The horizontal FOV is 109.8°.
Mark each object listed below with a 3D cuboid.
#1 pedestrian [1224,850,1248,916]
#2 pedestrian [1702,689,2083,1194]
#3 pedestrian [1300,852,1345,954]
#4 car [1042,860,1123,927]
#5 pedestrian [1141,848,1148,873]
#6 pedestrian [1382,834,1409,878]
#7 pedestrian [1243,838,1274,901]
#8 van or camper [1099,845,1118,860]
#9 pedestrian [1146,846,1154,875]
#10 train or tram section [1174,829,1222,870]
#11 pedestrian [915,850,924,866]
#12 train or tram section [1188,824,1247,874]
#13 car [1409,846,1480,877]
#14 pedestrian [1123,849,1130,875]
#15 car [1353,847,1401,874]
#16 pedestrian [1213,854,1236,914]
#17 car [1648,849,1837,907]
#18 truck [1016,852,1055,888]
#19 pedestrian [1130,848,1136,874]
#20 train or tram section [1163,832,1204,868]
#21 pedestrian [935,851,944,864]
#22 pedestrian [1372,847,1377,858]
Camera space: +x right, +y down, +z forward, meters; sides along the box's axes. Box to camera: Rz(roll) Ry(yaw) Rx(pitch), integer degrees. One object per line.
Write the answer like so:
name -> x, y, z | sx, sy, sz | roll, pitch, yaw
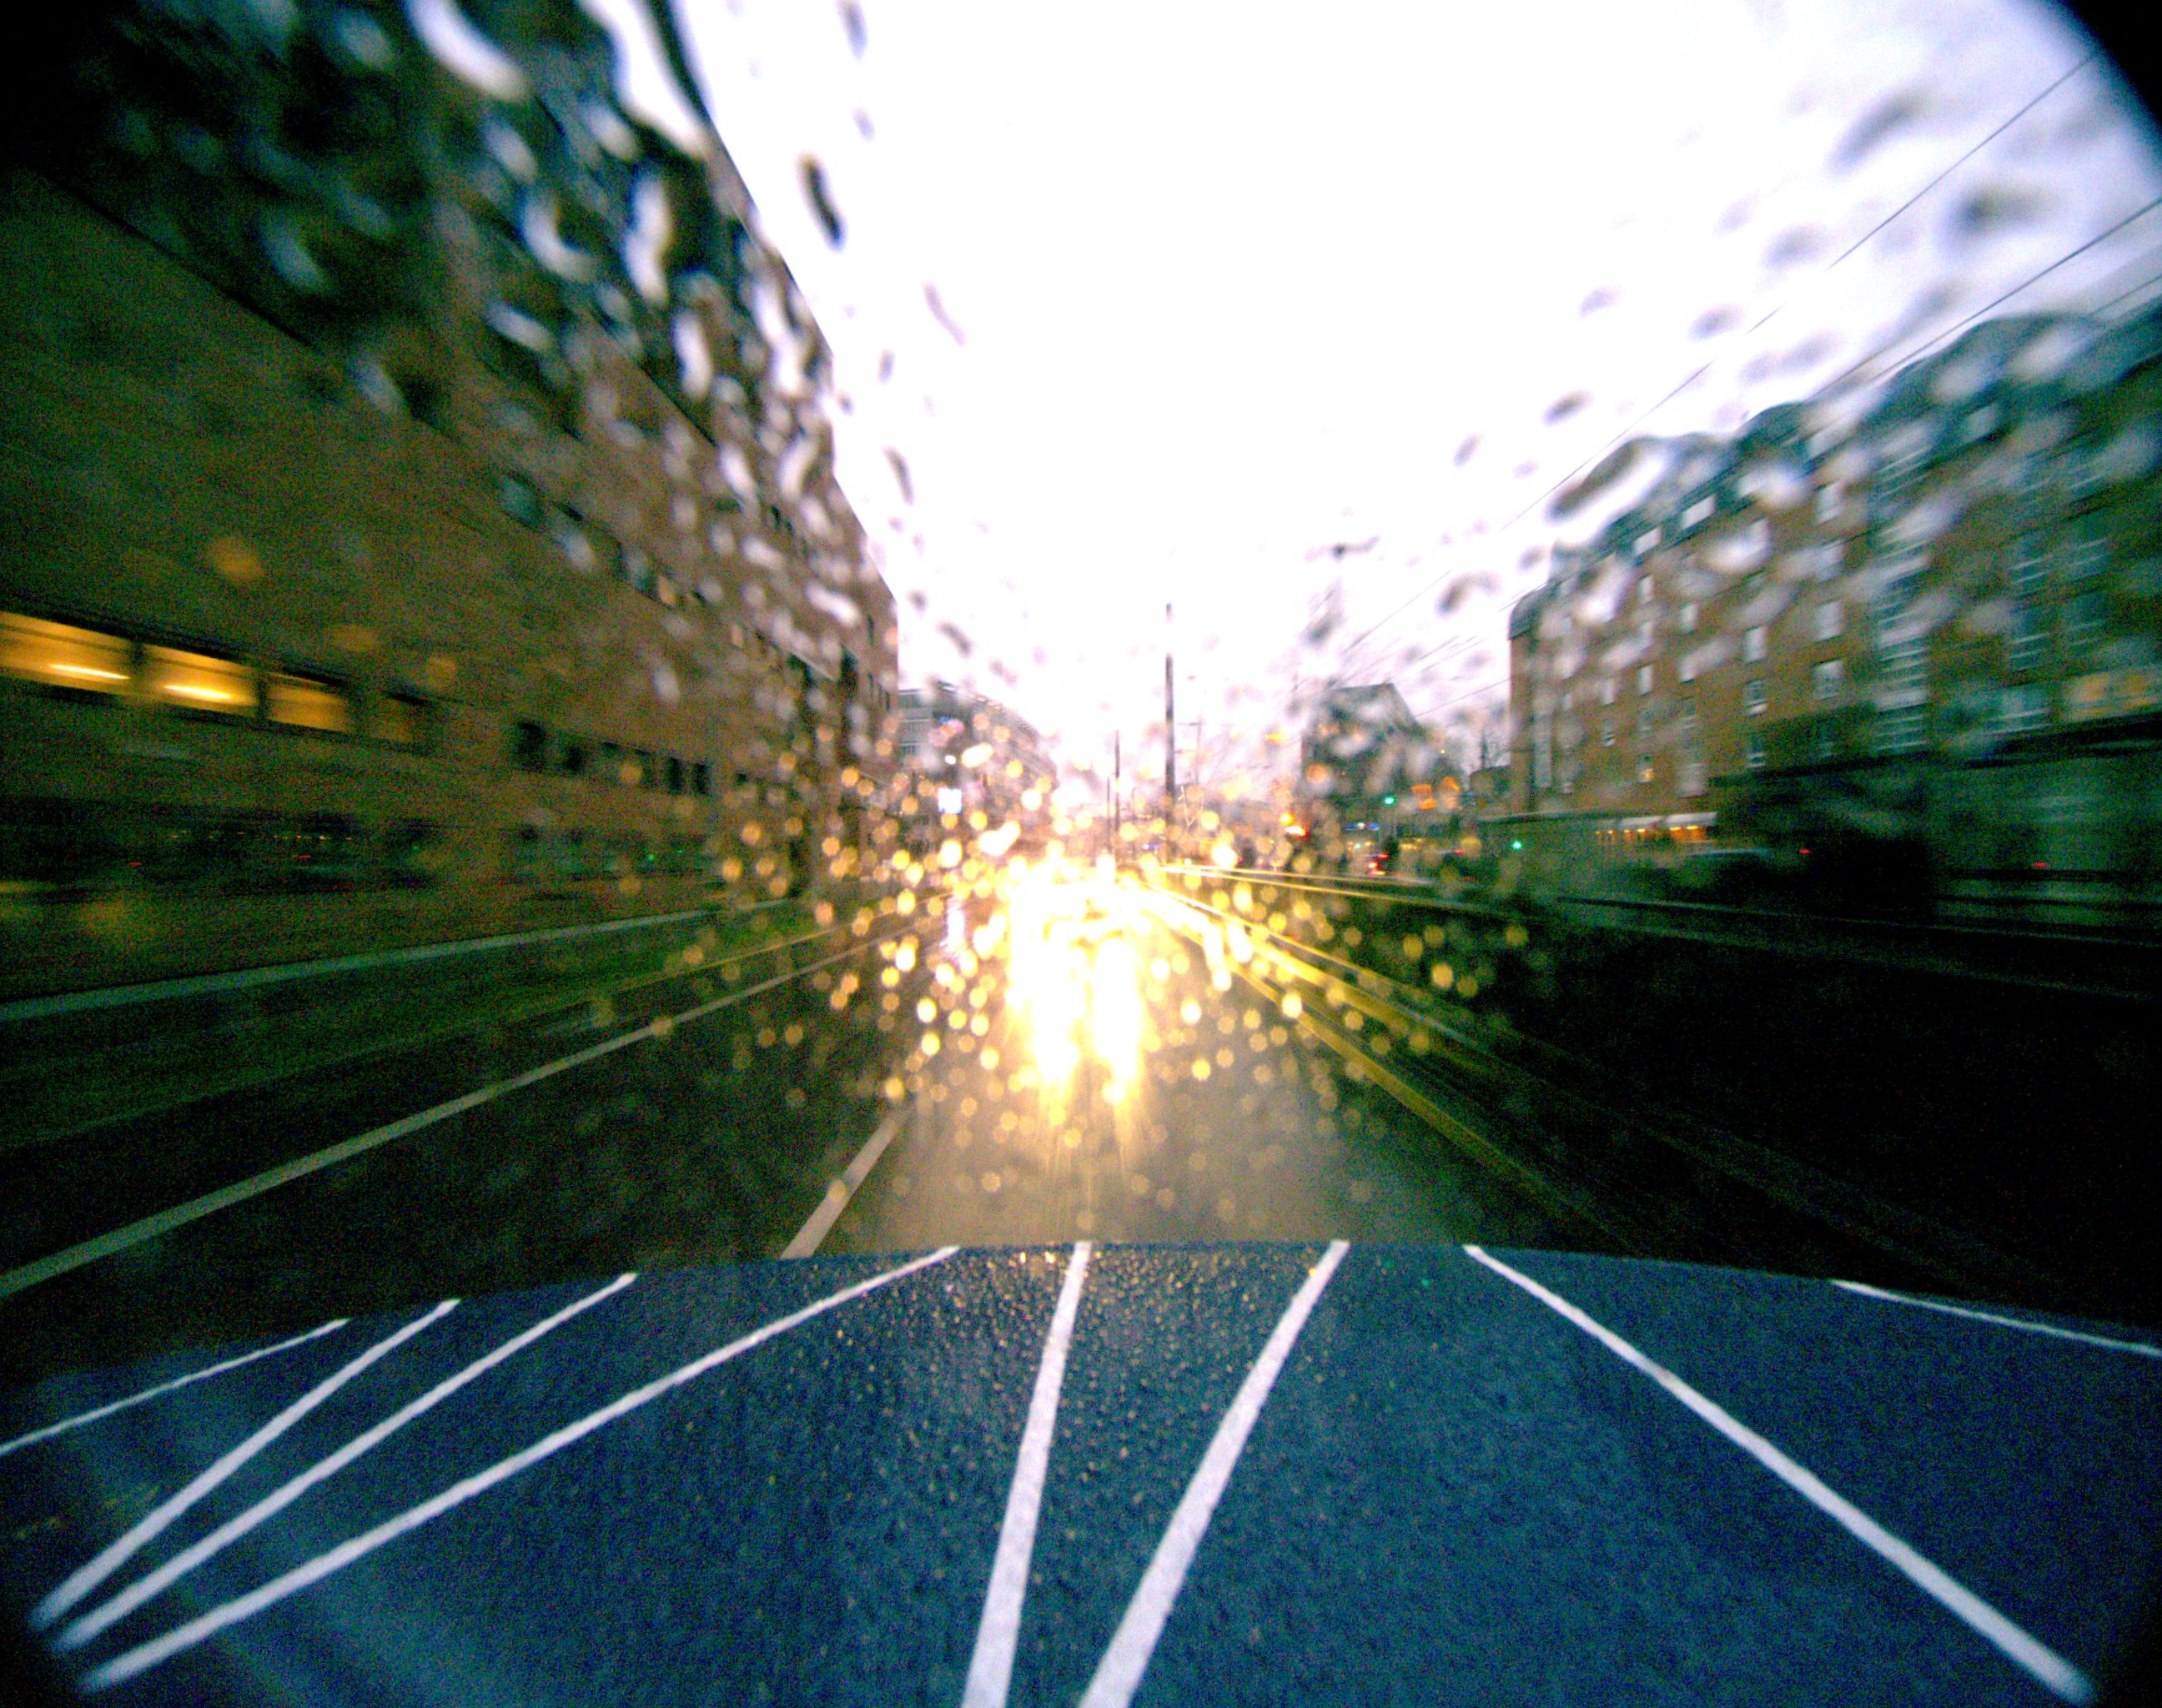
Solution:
pedestrian -> 3.981, 0.724, 19.550 | 0.482, 1.669, 0.563 | -1, 1, -2
pedestrian -> 3.171, 0.291, 3.025 | 0.779, 1.694, 0.772 | -1, 1, -17
pedestrian -> 4.090, 0.812, 12.908 | 0.541, 1.682, 0.643 | -1, 1, -2
car -> 0.044, 0.900, 19.284 | 1.774, 1.449, 4.221 | -2, 0, 0
pedestrian -> 4.308, 0.448, 51.522 | 0.434, 1.725, 0.473 | -1, 1, -4
pedestrian -> 13.780, 0.089, 33.292 | 0.794, 1.876, 0.883 | -1, 1, -2
pedestrian -> 4.520, 0.391, 19.405 | 0.620, 1.581, 0.622 | -1, 1, -2
van or camper -> 4.668, -0.267, 130.036 | 2.059, 2.533, 5.890 | -2, 0, 13
pedestrian -> 4.645, 0.445, 51.050 | 0.434, 1.956, 0.473 | -1, 1, -4
train or tram section -> 10.914, -0.427, 72.024 | 2.932, 3.557, 11.035 | -2, 0, 1
pedestrian -> -17.600, 0.447, 82.700 | 0.802, 1.800, 0.649 | 0, 1, -33
train or tram section -> 10.720, -0.389, 60.969 | 2.907, 3.547, 11.035 | -2, 0, 1
car -> 17.377, 0.330, 36.530 | 1.686, 1.346, 3.545 | -1, 1, 0
pedestrian -> 3.177, 0.546, 53.137 | 0.413, 1.835, 0.669 | -1, 1, -4
car -> 17.407, 0.373, 44.848 | 1.521, 1.508, 3.325 | -1, 1, 0
pedestrian -> 3.886, 0.807, 20.602 | 0.482, 1.581, 0.563 | -1, 1, -2
car -> 17.015, 0.555, 19.785 | 1.824, 1.346, 3.545 | -1, 1, 0
truck -> -2.547, 0.877, 43.747 | 1.909, 1.906, 4.617 | -2, 0, 0
pedestrian -> 3.685, 0.494, 53.499 | 0.360, 1.776, 0.440 | -1, 1, -4
train or tram section -> 11.144, -0.464, 83.630 | 2.957, 3.568, 12.255 | -2, 0, 1
pedestrian -> -18.574, 0.478, 99.827 | 1.152, 1.776, 0.777 | 0, 1, -9
pedestrian -> 46.499, -0.223, 120.442 | 0.726, 1.698, 0.695 | 0, 1, 20
